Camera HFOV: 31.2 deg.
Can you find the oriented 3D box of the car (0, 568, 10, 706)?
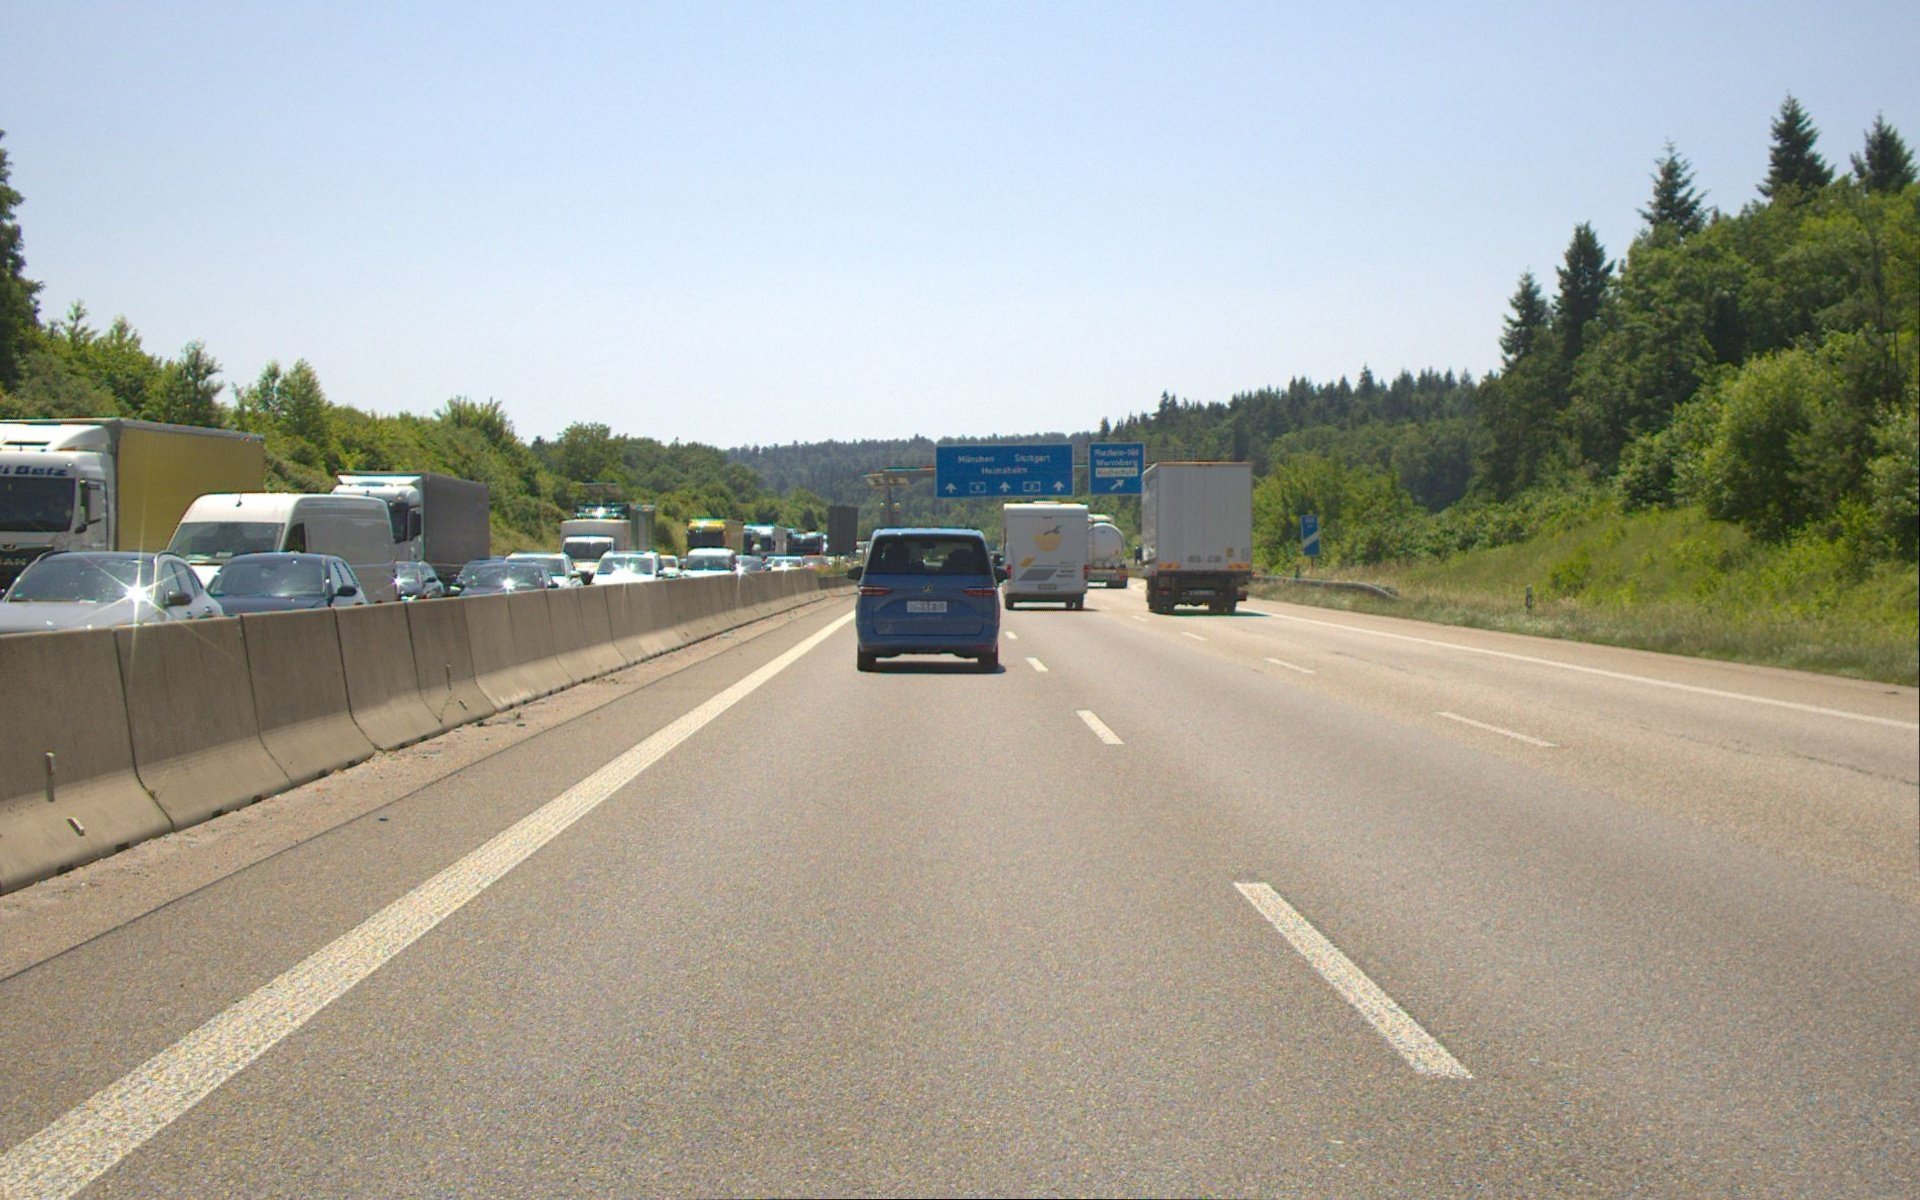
[{"bbox_3d":[-12.963,0.448,40.851,1.997,1.722,4.759,1,0,0],"label":"car"}]

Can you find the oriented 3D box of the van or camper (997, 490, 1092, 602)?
[{"bbox_3d":[2.386,-1.624,99.478,2.603,3.068,7.183,1,2,1],"label":"van or camper"}]

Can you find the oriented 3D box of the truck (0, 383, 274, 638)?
[{"bbox_3d":[-17.052,-1.613,68.601,3.696,4.441,16.676,1,0,-1],"label":"truck"}]

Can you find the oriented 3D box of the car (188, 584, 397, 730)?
[{"bbox_3d":[-8.602,0.689,44.691,1.827,1.758,4.991,1,0,-1],"label":"car"}]

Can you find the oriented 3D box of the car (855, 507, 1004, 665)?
[{"bbox_3d":[-0.420,-0.232,46.490,1.909,2.006,4.001,0,2,-1],"label":"car"}]

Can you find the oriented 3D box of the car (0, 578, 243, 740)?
[{"bbox_3d":[-8.509,0.537,34.411,1.827,1.492,4.760,1,0,-2],"label":"car"}]

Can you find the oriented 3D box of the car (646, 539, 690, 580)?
[{"bbox_3d":[-12.655,-1.752,149.103,1.571,1.725,3.885,1,0,-1],"label":"car"}]

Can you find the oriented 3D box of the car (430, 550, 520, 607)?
[{"bbox_3d":[-13.189,-0.601,93.709,1.827,1.488,4.991,0,1,-1],"label":"car"}]

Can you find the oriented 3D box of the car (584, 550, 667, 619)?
[{"bbox_3d":[-8.953,-0.411,92.269,1.827,1.758,4.991,1,0,-1],"label":"car"}]

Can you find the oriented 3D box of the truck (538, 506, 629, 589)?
[{"bbox_3d":[-13.261,-1.814,121.461,2.568,2.835,6.753,1,0,-1],"label":"truck"}]

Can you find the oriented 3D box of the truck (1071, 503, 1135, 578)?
[{"bbox_3d":[7.012,-2.962,169.400,2.928,3.563,8.526,-1,1,1],"label":"truck"}]

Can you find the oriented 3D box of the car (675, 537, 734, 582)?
[{"bbox_3d":[-9.110,-1.428,122.858,1.827,1.559,5.111,1,0,-1],"label":"car"}]

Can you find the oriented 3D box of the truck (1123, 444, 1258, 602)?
[{"bbox_3d":[6.284,-2.040,95.140,2.783,4.114,9.740,1,0,-1],"label":"truck"}]

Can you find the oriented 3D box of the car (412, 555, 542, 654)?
[{"bbox_3d":[-9.051,0.078,64.744,1.827,1.758,4.991,1,0,-1],"label":"car"}]

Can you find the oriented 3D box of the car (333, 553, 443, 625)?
[{"bbox_3d":[-13.096,-0.252,78.915,1.827,1.559,4.524,1,0,-1],"label":"car"}]

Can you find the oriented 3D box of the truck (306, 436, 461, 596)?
[{"bbox_3d":[-17.039,-2.406,102.163,2.942,4.500,8.605,1,0,1],"label":"truck"}]

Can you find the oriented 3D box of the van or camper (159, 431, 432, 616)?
[{"bbox_3d":[-10.634,-1.169,55.728,2.252,2.766,7.215,1,0,7],"label":"van or camper"}]
